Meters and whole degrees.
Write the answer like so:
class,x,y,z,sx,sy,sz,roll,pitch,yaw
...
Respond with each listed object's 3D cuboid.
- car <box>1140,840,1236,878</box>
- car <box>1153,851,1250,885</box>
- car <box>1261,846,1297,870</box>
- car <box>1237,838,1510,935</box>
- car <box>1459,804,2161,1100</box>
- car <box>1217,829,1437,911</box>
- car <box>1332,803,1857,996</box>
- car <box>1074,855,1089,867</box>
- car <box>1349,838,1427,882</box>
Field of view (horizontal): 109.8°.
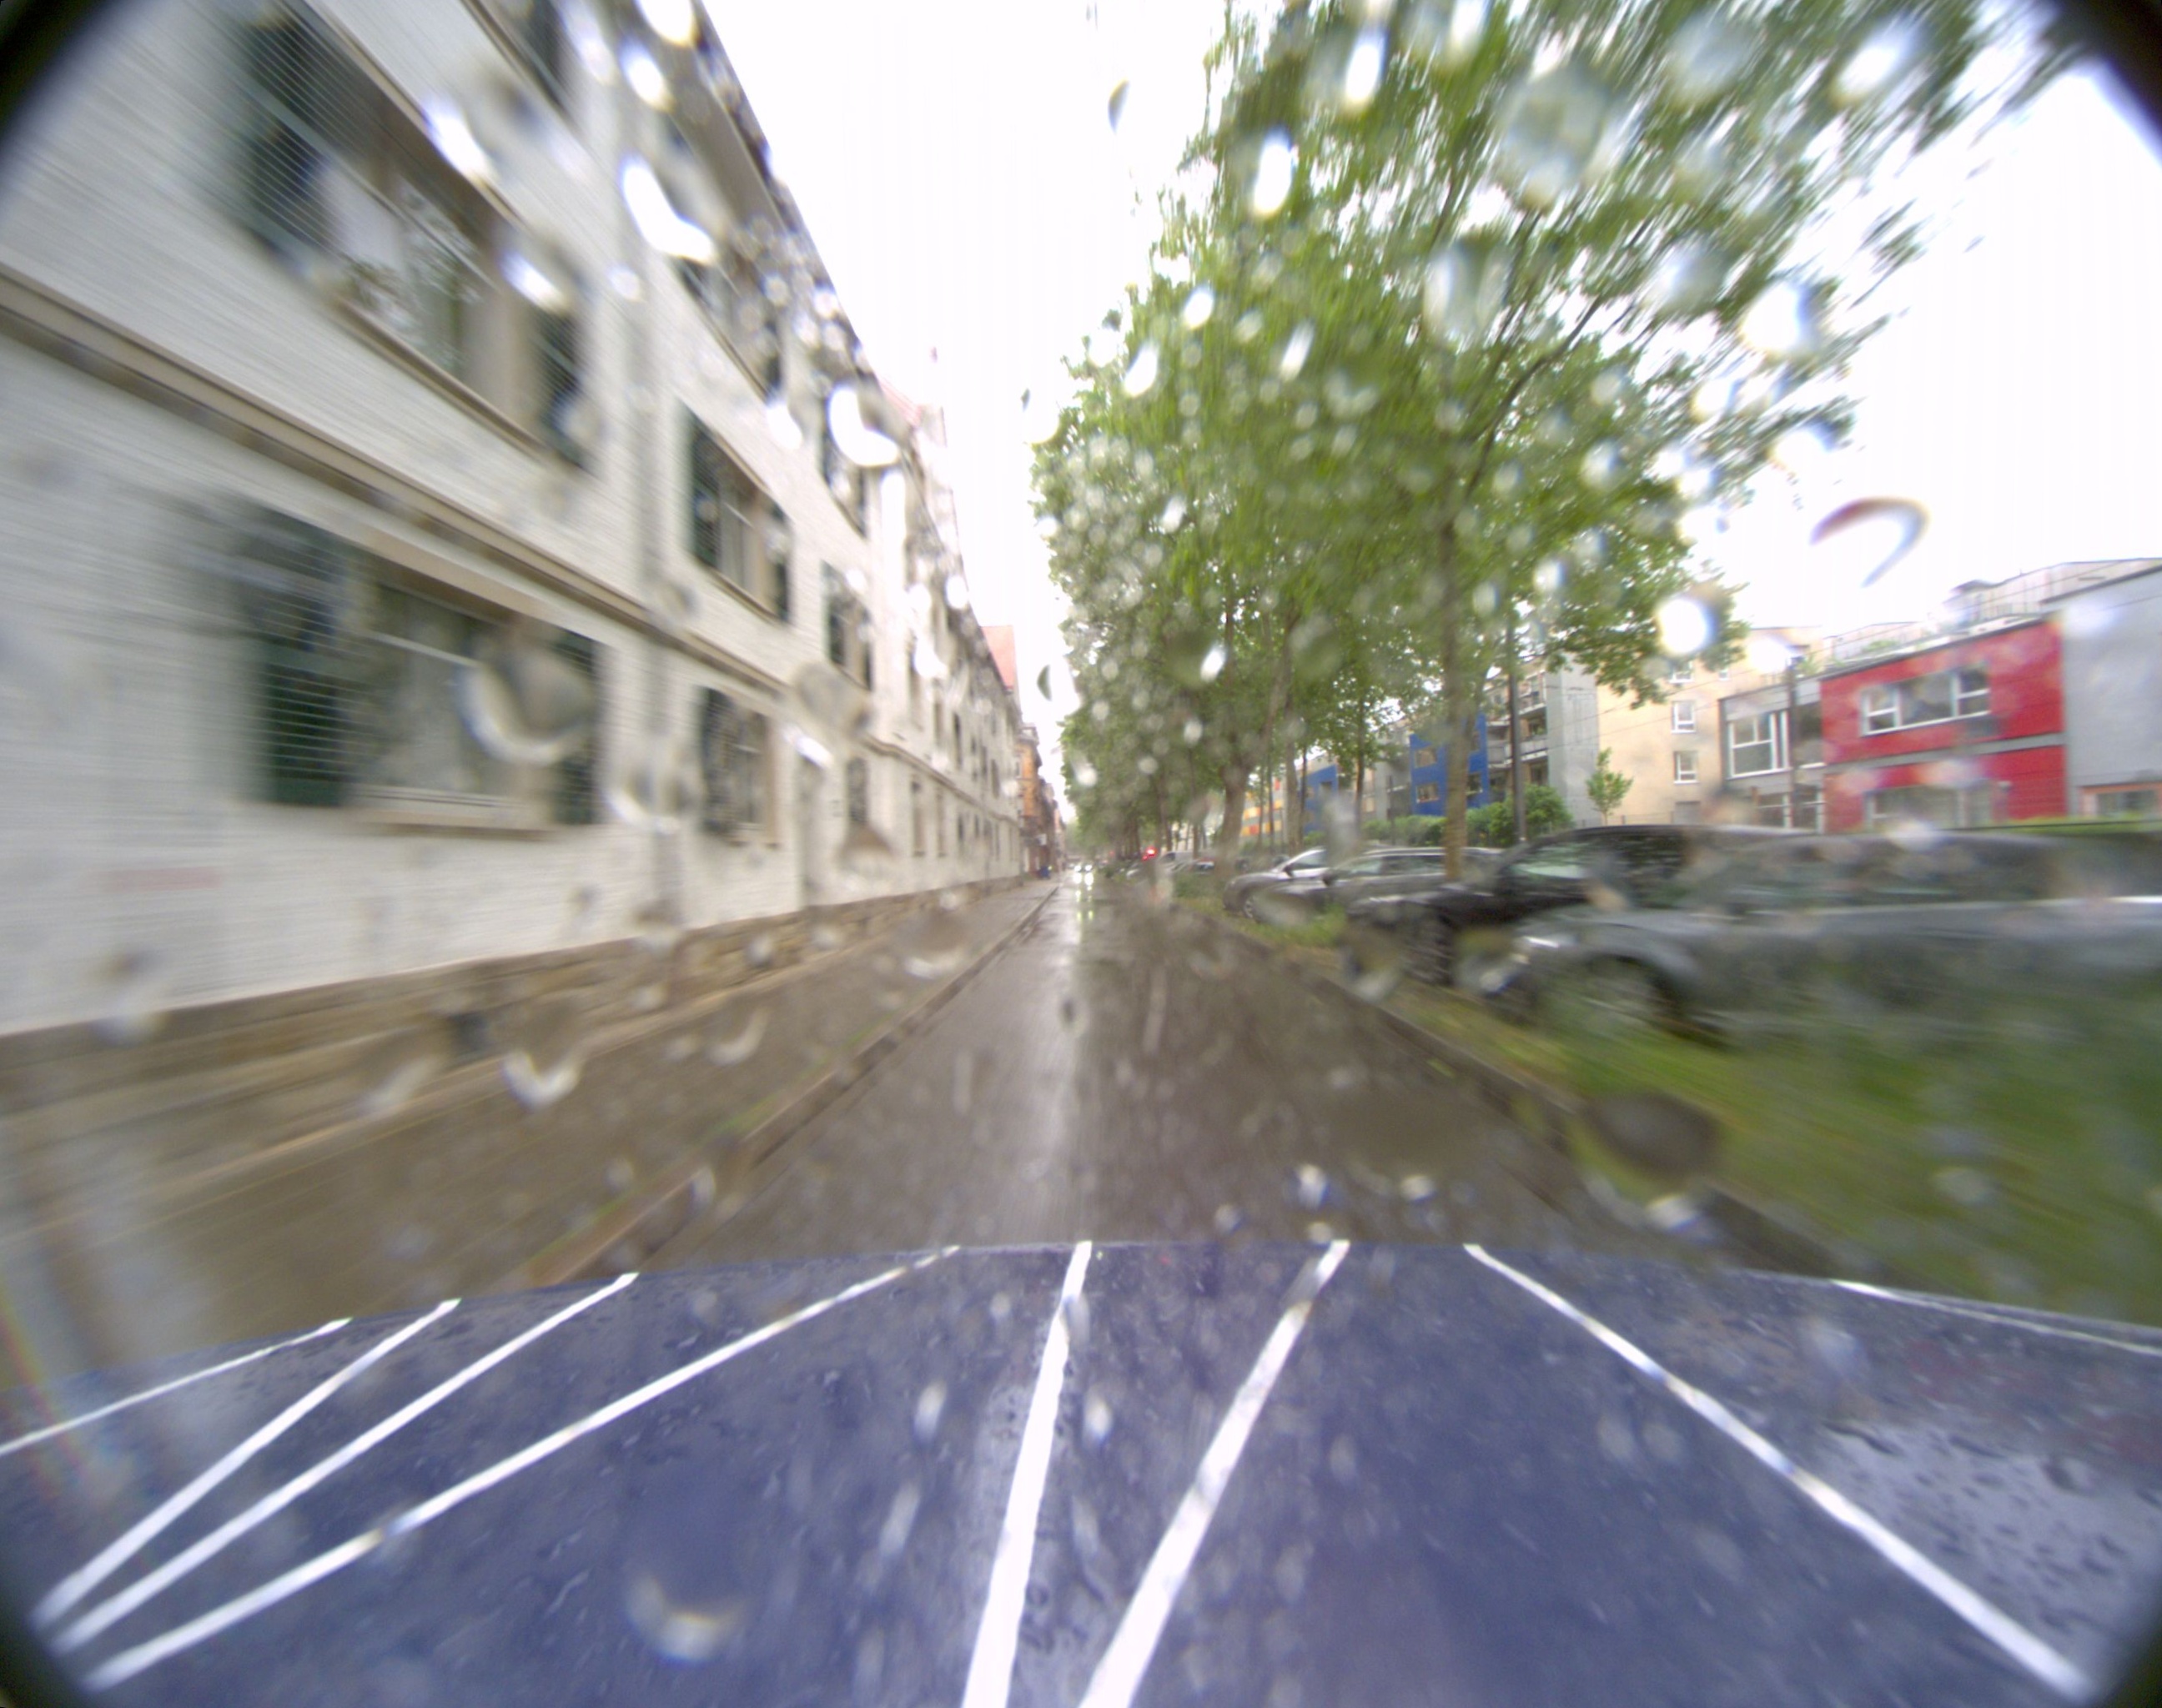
class,x,y,z,sx,sy,sz,roll,pitch,yaw
car,5.921,0.272,42.199,4.879,2.002,2.004,-1,1,31
car,5.383,0.621,33.975,3.990,1.477,1.662,-1,1,22
car,12.753,0.238,49.143,1.691,1.439,4.001,-1,0,6
car,5.192,0.519,13.677,4.321,1.499,1.752,-1,1,32
car,5.082,0.508,5.321,4.219,1.532,1.934,-1,1,31
car,5.322,0.331,16.476,4.322,1.603,1.751,-1,1,26
car,5.060,0.395,8.125,4.219,1.601,1.752,-1,1,31
car,0.124,1.033,107.971,1.850,1.586,4.217,-2,0,2
car,12.689,0.225,31.650,1.692,1.713,3.691,-1,0,-1
